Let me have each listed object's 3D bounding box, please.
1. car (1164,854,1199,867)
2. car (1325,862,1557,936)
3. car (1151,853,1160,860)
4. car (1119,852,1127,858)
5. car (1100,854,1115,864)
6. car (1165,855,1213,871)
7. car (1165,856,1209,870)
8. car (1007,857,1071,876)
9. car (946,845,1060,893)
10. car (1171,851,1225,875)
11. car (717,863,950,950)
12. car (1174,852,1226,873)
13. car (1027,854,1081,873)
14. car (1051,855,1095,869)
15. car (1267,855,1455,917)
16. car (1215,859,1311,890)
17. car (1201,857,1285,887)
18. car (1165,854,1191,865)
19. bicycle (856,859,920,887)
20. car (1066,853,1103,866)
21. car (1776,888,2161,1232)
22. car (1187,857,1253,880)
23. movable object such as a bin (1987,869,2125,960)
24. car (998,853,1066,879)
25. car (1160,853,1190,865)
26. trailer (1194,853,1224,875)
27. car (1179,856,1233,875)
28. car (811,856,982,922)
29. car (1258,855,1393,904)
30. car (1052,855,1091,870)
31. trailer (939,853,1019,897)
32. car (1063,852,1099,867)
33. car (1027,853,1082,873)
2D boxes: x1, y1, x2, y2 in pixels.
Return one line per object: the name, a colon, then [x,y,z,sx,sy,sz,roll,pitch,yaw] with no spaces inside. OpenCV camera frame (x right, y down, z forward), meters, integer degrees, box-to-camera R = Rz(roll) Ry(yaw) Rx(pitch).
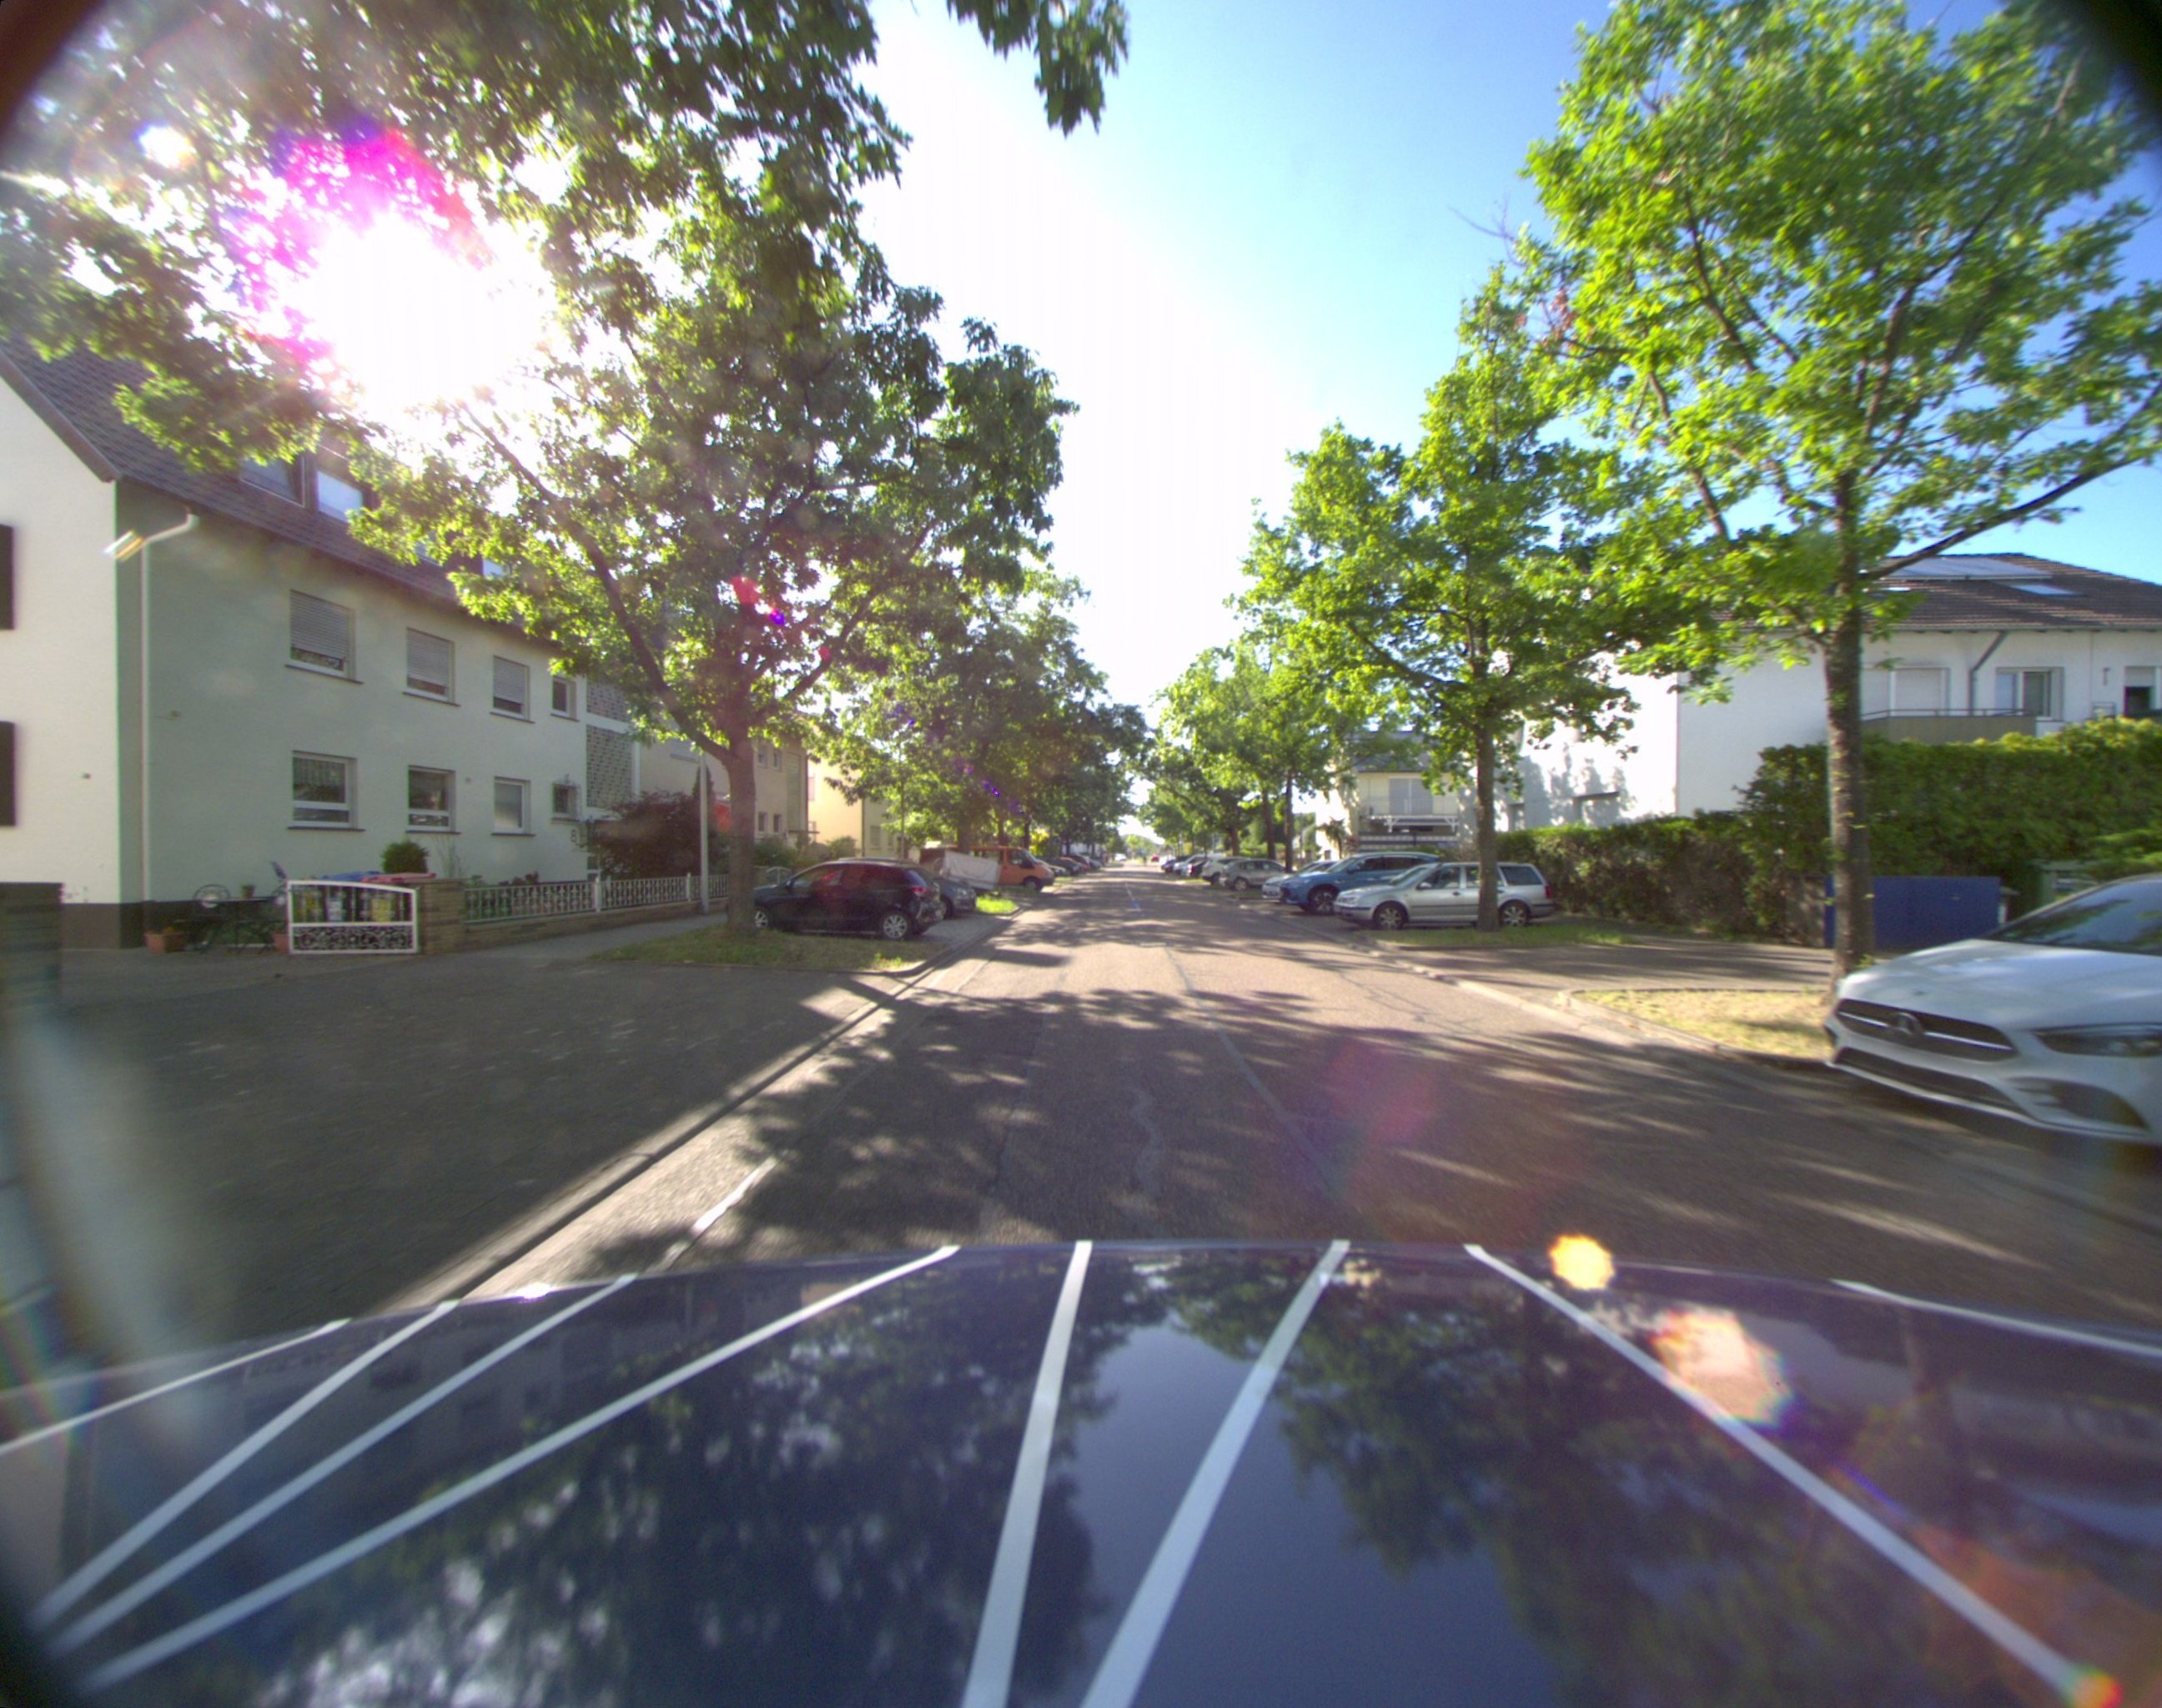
car: [11.501,0.767,87.061,4.009,1.506,1.796,0,0,6]
car: [7.596,0.916,16.332,4.192,1.483,1.647,0,0,2]
car: [16.932,0.556,172.177,1.740,1.531,3.949,0,0,9]
car: [10.547,0.279,190.258,1.943,1.412,4.001,-1,2,7]
car: [3.834,0.728,111.253,1.877,1.469,3.852,0,0,6]
car: [10.390,0.836,73.547,4.487,1.491,1.837,0,0,3]
car: [10.986,0.901,79.056,4.283,1.416,1.723,0,0,-3]
car: [-3.037,0.915,55.369,4.437,1.323,1.691,0,0,5]
car: [-3.443,0.645,34.169,4.830,2.071,2.086,0,0,3]
car: [9.813,0.729,63.739,4.247,1.933,2.000,0,0,1]
car: [-4.641,0.961,14.601,3.891,1.507,1.661,0,1,3]
car: [10.345,0.727,66.347,4.249,1.760,1.967,0,0,1]
car: [-2.191,0.798,62.797,4.330,1.521,1.841,0,0,3]
car: [-0.827,0.842,81.340,4.512,1.437,1.839,1,0,5]
car: [7.641,0.848,21.113,4.534,1.621,1.938,0,0,4]
car: [8.436,0.941,35.454,4.043,1.415,1.810,0,0,1]
car: [8.611,0.968,40.741,4.196,1.558,1.792,0,0,4]
car: [13.450,0.738,105.687,3.522,1.487,1.708,0,0,3]
bicycle: [-9.031,0.870,35.613,2.865,1.230,0.468,1,2,3]
car: [0.471,0.662,94.285,4.512,1.669,1.879,0,0,4]
car: [6.984,0.980,4.361,4.286,1.469,1.769,-1,0,2]
car: [9.242,0.961,50.922,4.219,1.463,1.691,0,0,5]
movable object such as a bin: [15.093,0.918,11.787,1.231,1.343,0.692,0,1,1]
car: [-3.207,0.786,50.313,4.348,1.551,1.868,1,0,2]
car: [13.318,0.695,107.813,3.963,1.565,1.922,0,0,-2]
trailer: [9.916,0.782,58.769,2.240,1.664,1.475,0,0,7]
car: [10.013,0.933,61.065,3.997,1.507,1.690,0,0,0]
car: [-4.687,0.864,19.675,3.997,1.614,1.757,0,0,-1]
car: [8.190,0.821,25.737,3.996,1.586,1.858,0,0,3]
car: [-0.985,0.834,77.300,3.785,1.475,1.756,0,0,5]
trailer: [-3.900,0.786,29.519,2.954,1.654,1.614,0,0,-3]
car: [0.029,0.595,91.087,4.221,1.771,1.790,0,0,4]
car: [-2.266,0.756,65.171,4.584,1.637,1.838,0,0,3]
